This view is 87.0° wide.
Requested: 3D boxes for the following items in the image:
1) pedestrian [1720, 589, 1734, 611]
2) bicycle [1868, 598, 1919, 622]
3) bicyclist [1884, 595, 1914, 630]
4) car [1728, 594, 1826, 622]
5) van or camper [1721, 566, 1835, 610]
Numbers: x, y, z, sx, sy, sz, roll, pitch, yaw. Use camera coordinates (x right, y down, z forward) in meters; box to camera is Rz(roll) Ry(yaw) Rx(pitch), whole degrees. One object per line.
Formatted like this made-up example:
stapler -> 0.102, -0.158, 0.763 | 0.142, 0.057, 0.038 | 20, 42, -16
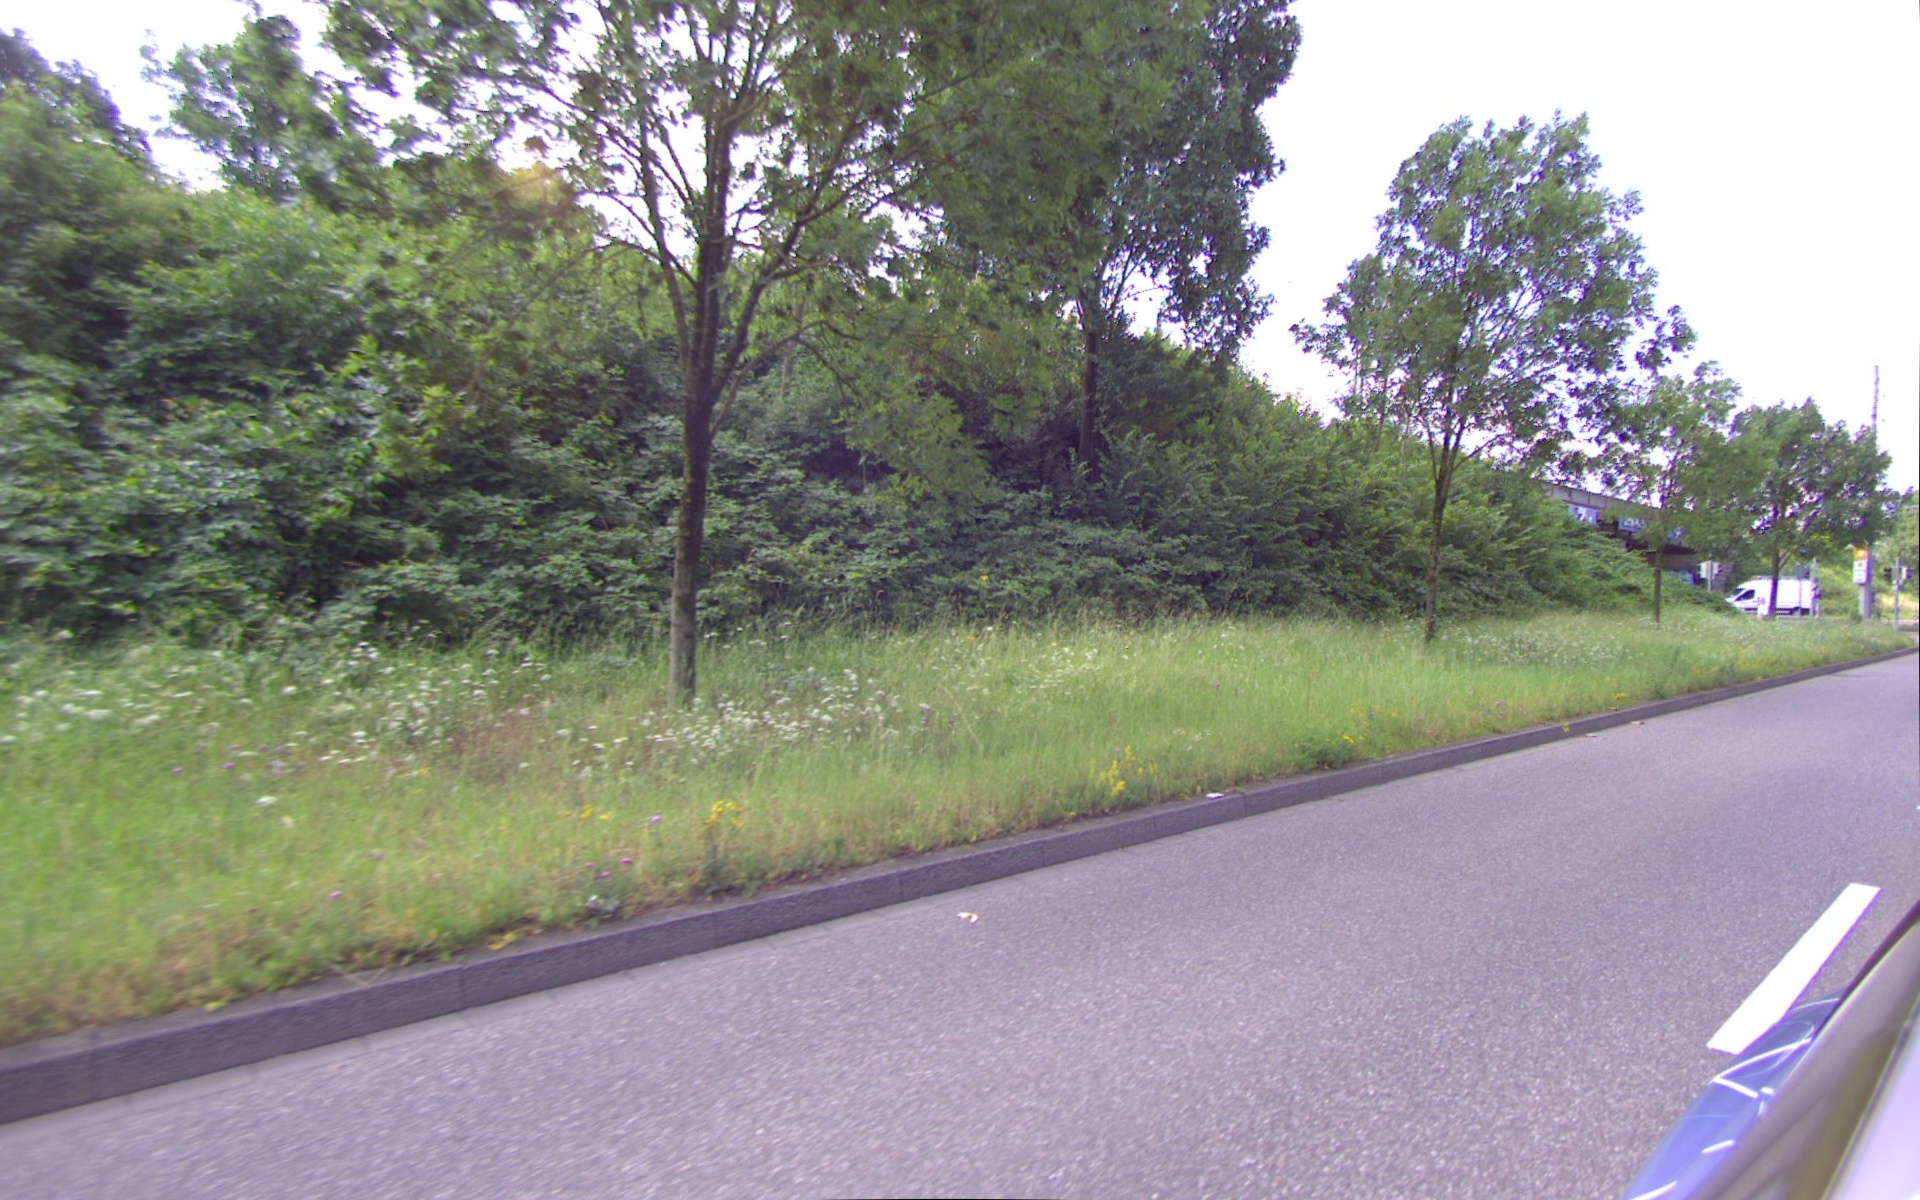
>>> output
pedestrian -> 60.165, -0.029, 79.387 | 0.679, 1.671, 0.610 | -2, 3, -2
bicycle -> 47.649, 0.515, 51.281 | 2.291, 1.106, 0.840 | 0, 4, 22
bicyclist -> 47.600, 0.635, 51.298 | 0.814, 1.698, 0.840 | -1, 4, 22
car -> 46.732, 0.433, 57.962 | 3.940, 1.494, 1.703 | 0, 4, 13
van or camper -> 57.758, -0.848, 71.610 | 5.875, 2.818, 2.158 | -1, 3, 14
